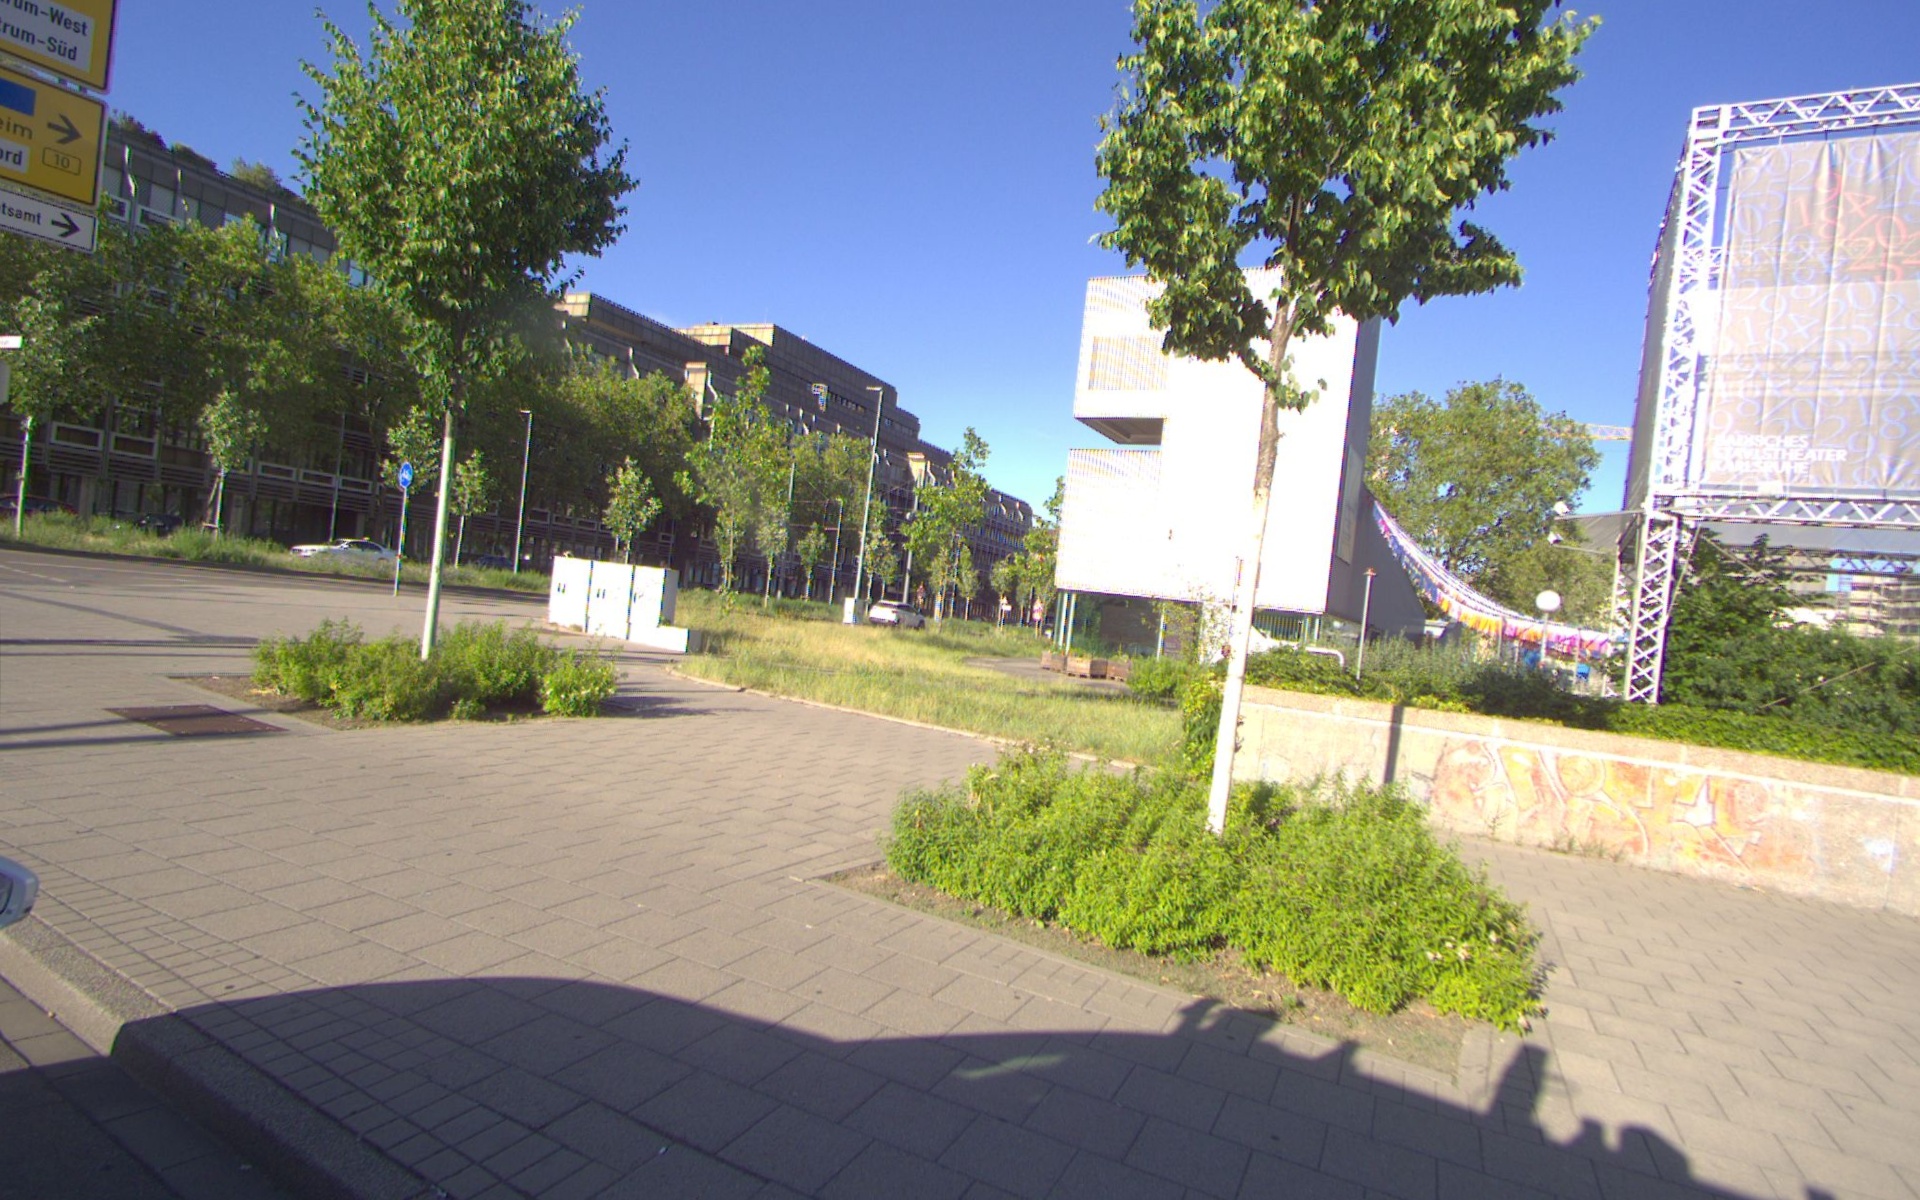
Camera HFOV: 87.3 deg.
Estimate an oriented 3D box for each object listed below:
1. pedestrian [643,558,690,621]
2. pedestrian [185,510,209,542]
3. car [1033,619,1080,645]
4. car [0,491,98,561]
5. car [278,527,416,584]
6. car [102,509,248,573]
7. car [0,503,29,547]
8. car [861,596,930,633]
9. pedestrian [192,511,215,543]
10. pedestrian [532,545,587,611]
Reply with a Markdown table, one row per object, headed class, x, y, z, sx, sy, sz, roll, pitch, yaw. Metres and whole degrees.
| class | x | y | z | sx | sy | sz | roll | pitch | yaw |
| --- | --- | --- | --- | --- | --- | --- | --- | --- | --- |
| pedestrian | -8.719 | -0.300 | 29.906 | 0.925 | 1.750 | 0.695 | 7 | 1 | 18 |
| pedestrian | -43.154 | -4.189 | 56.898 | 0.728 | 1.678 | 0.665 | 7 | 1 | 25 |
| car | 7.904 | 2.638 | 81.660 | 1.965 | 1.621 | 4.948 | 9 | 0 | 27 |
| car | -33.320 | -2.713 | 35.374 | 1.966 | 2.037 | 3.997 | 6 | -2 | 29 |
| car | -30.683 | -2.184 | 50.584 | 2.062 | 2.036 | 5.455 | 6 | -2 | 29 |
| car | -34.118 | -2.532 | 43.881 | 1.965 | 2.036 | 4.458 | 7 | -2 | 27 |
| car | -37.250 | -3.045 | 36.944 | 1.836 | 1.525 | 3.997 | 7 | -2 | 29 |
| car | -3.634 | 0.858 | 57.224 | 1.964 | 1.680 | 4.404 | 8 | 0 | 24 |
| pedestrian | -42.468 | -4.115 | 56.468 | 0.728 | 1.678 | 0.665 | 7 | 1 | 25 |
| pedestrian | -10.855 | -0.583 | 27.285 | 0.925 | 1.650 | 0.803 | 7 | 1 | 18 |
